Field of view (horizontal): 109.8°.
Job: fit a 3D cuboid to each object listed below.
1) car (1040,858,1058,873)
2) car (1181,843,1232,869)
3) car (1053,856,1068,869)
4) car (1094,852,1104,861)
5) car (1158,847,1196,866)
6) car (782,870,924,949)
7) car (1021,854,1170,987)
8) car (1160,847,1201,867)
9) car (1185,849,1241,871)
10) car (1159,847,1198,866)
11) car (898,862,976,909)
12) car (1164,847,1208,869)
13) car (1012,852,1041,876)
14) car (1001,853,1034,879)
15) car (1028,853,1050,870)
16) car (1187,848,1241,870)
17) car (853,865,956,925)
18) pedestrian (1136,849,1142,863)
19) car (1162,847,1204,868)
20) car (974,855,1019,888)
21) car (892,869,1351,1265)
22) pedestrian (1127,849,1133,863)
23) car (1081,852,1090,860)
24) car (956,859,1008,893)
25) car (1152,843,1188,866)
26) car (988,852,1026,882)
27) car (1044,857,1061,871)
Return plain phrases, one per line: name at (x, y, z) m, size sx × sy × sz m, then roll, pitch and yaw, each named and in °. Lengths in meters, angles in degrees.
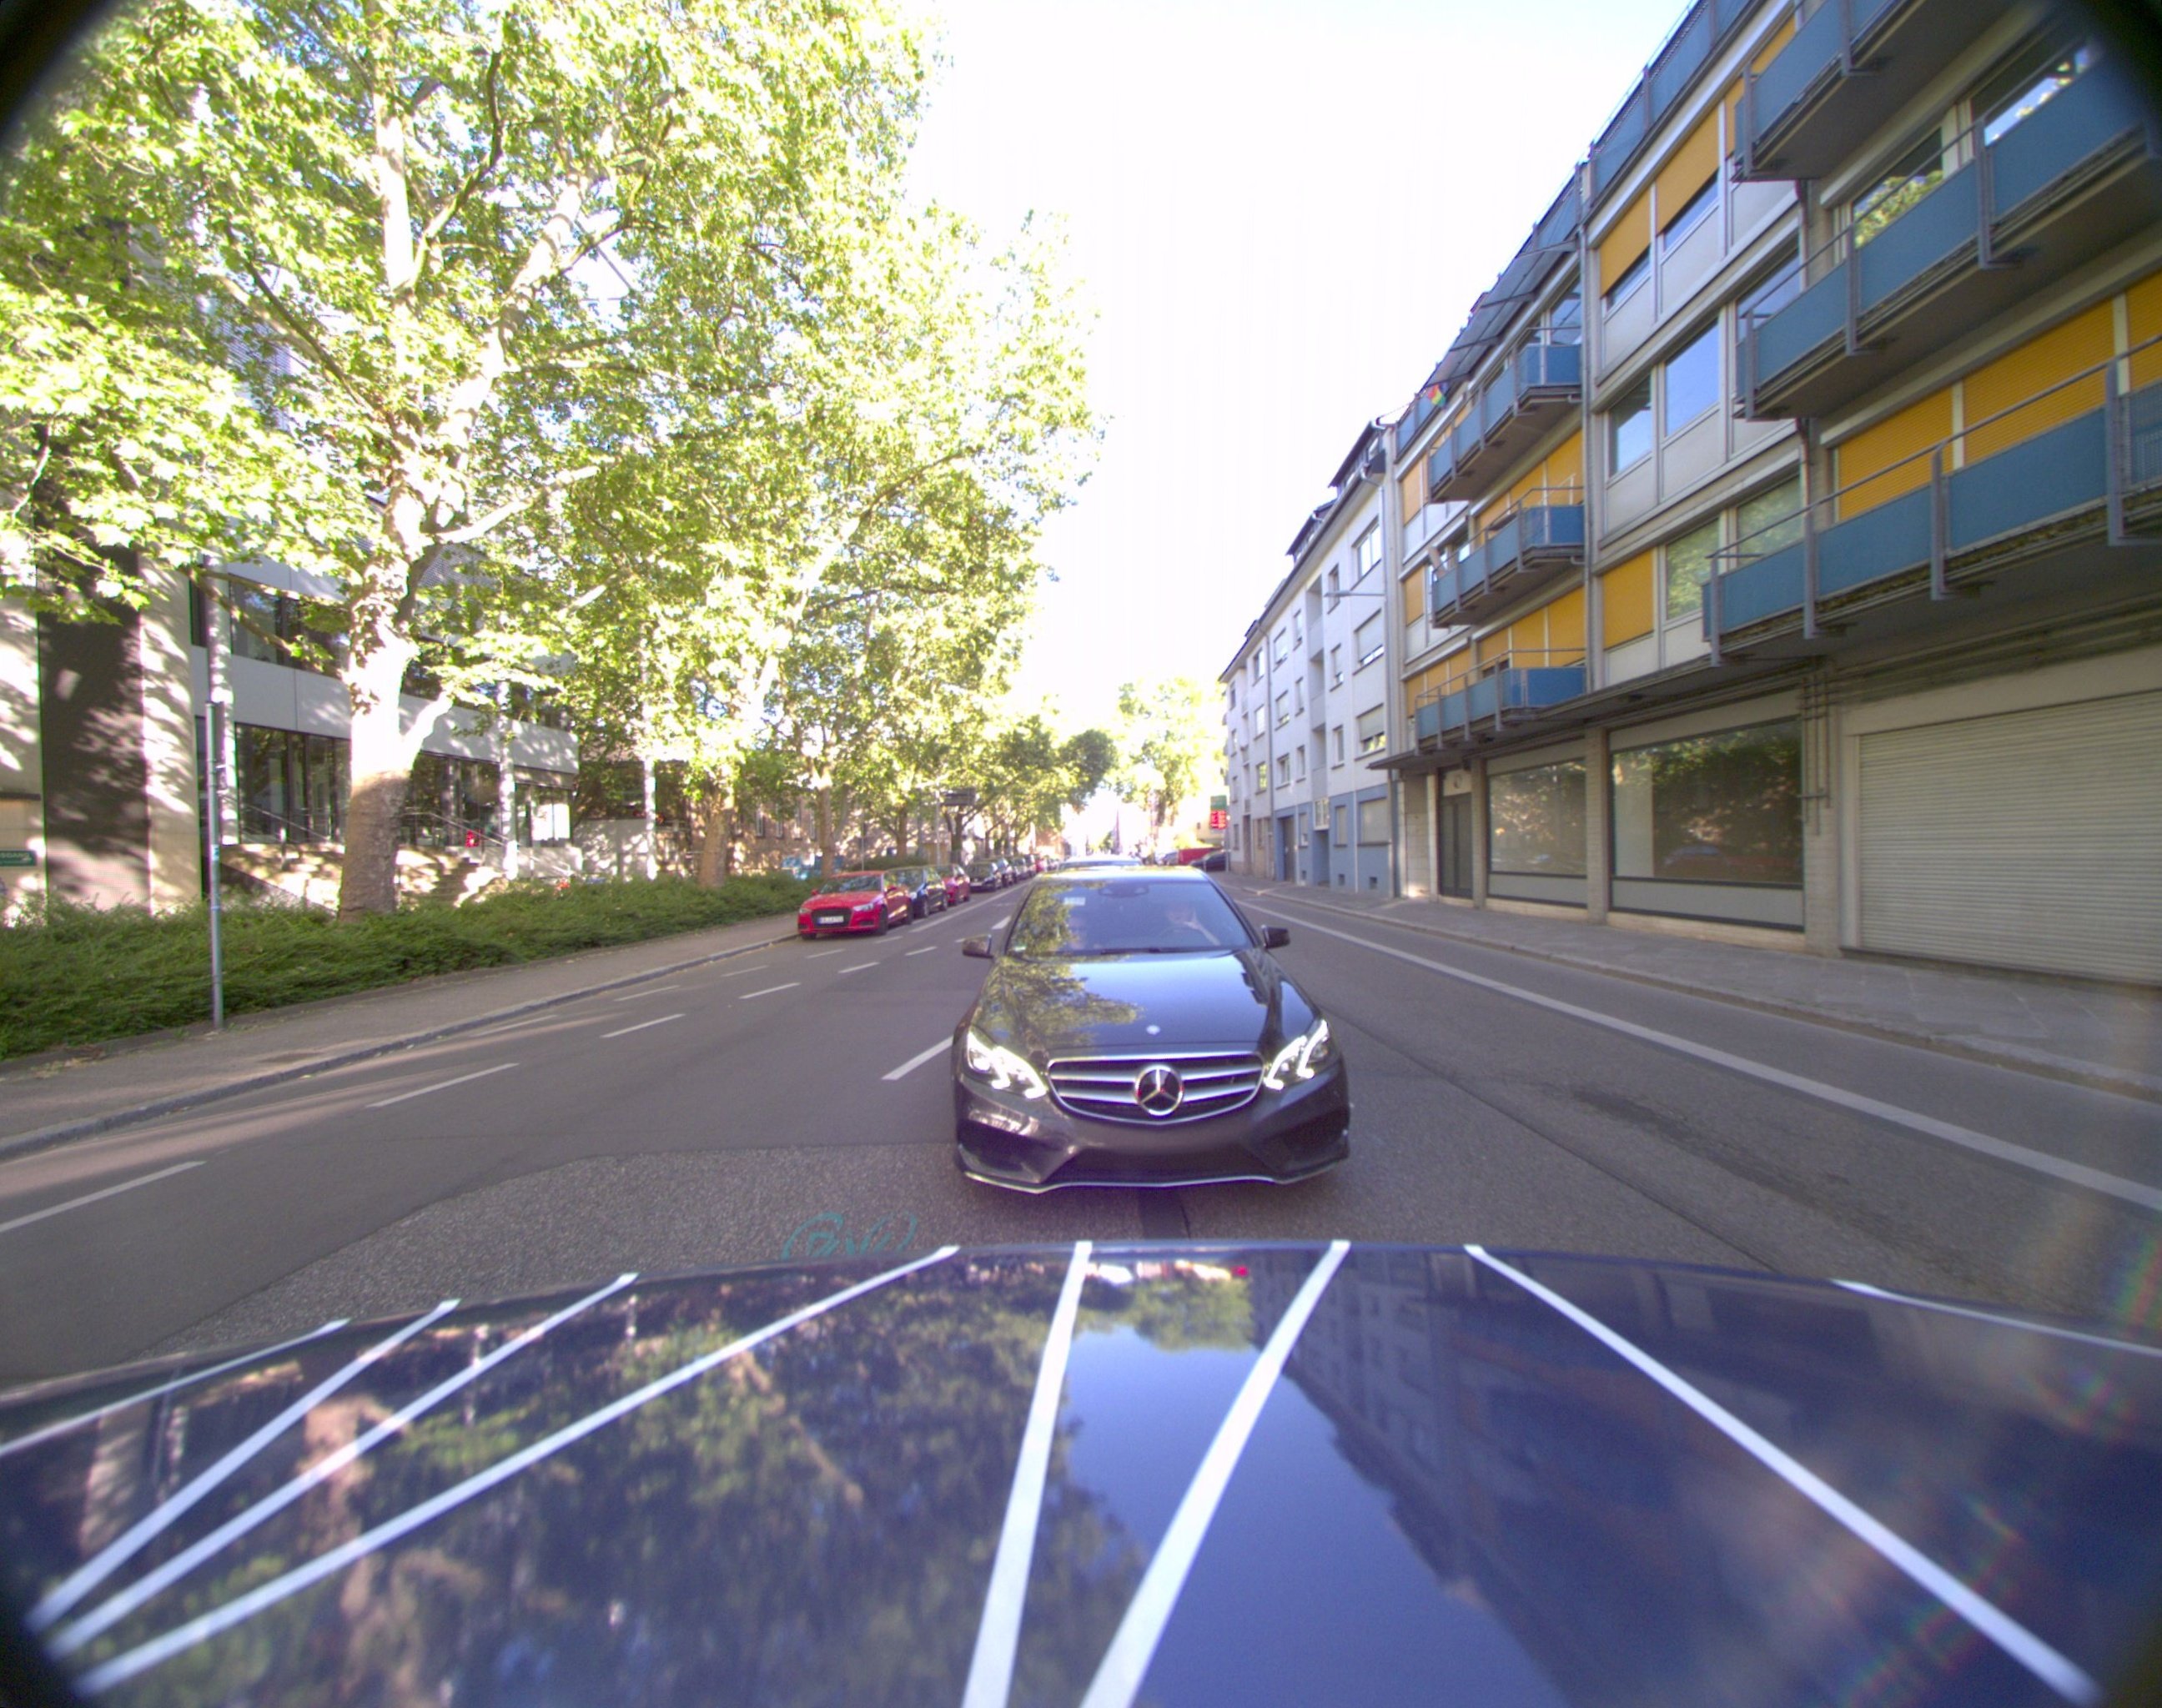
car at (-3.770, 1.320, 89.982) m, size 1.866 × 1.632 × 4.481 m, roll -2°, pitch 0°, yaw 1°
car at (10.543, 0.159, 64.021) m, size 3.996 × 1.936 × 2.000 m, roll -2°, pitch 1°, yaw 2°
car at (-2.829, 1.111, 105.188) m, size 1.866 × 1.632 × 4.481 m, roll -2°, pitch 0°, yaw 1°
car at (3.480, 0.409, 146.263) m, size 1.866 × 1.632 × 4.481 m, roll -2°, pitch 0°, yaw 1°
car at (10.730, 0.245, 84.977) m, size 3.996 × 1.936 × 2.000 m, roll -2°, pitch 1°, yaw 2°
car at (-5.109, 1.179, 17.728) m, size 1.866 × 1.442 × 4.481 m, roll -2°, pitch 0°, yaw 1°
car at (0.220, 0.861, 11.928) m, size 1.866 × 1.630 × 4.303 m, roll -2°, pitch 0°, yaw 1°
car at (10.455, 0.312, 79.995) m, size 3.996 × 1.936 × 2.000 m, roll -2°, pitch 1°, yaw 2°
car at (10.169, 0.428, 58.868) m, size 3.996 × 1.543 × 2.000 m, roll -2°, pitch 1°, yaw 2°
car at (10.585, 0.279, 82.483) m, size 3.996 × 1.936 × 2.000 m, roll -2°, pitch 1°, yaw 2°
car at (-5.092, 1.067, 27.422) m, size 1.866 × 1.442 × 4.481 m, roll -2°, pitch 0°, yaw 1°
car at (10.243, 0.381, 74.502) m, size 3.996 × 1.936 × 2.000 m, roll -2°, pitch 1°, yaw 2°
car at (-4.250, 0.756, 59.753) m, size 1.866 × 1.749 × 4.481 m, roll -2°, pitch 0°, yaw 1°
car at (-4.508, 0.819, 54.797) m, size 1.866 × 1.749 × 4.481 m, roll -2°, pitch 0°, yaw 1°
car at (-4.204, 0.704, 76.275) m, size 1.866 × 1.632 × 4.481 m, roll -2°, pitch 0°, yaw 1°
car at (10.711, 0.381, 61.190) m, size 3.996 × 1.543 × 2.000 m, roll -2°, pitch 1°, yaw 2°
car at (-5.048, 1.126, 22.379) m, size 1.866 × 1.442 × 4.481 m, roll -2°, pitch 0°, yaw 1°
pedestrian at (8.630, 0.307, 113.506) m, size 0.735 × 2.002 × 1.046 m, roll -2°, pitch 1°, yaw -1°
car at (10.327, 0.349, 77.144) m, size 3.996 × 1.936 × 2.000 m, roll -2°, pitch 1°, yaw 2°
car at (-4.626, 0.908, 42.204) m, size 1.866 × 1.658 × 4.481 m, roll -2°, pitch 0°, yaw 1°
car at (0.200, 0.937, 5.405) m, size 1.866 × 1.492 × 4.481 m, roll -2°, pitch 0°, yaw 1°
pedestrian at (7.224, 0.277, 112.637) m, size 0.735 × 2.002 × 0.797 m, roll -2°, pitch 1°, yaw 1°
car at (0.942, 0.383, 157.057) m, size 1.866 × 1.632 × 4.481 m, roll -2°, pitch 0°, yaw 1°
car at (-4.761, 1.026, 37.169) m, size 1.866 × 1.442 × 4.481 m, roll -2°, pitch 0°, yaw 1°
car at (10.484, 0.007, 89.505) m, size 3.996 × 2.505 × 2.000 m, roll -2°, pitch 1°, yaw 2°
car at (-4.638, 0.785, 48.131) m, size 1.866 × 1.749 × 4.481 m, roll -2°, pitch 0°, yaw 1°
car at (-3.660, 1.236, 96.781) m, size 1.866 × 1.632 × 4.481 m, roll -2°, pitch 0°, yaw 1°
